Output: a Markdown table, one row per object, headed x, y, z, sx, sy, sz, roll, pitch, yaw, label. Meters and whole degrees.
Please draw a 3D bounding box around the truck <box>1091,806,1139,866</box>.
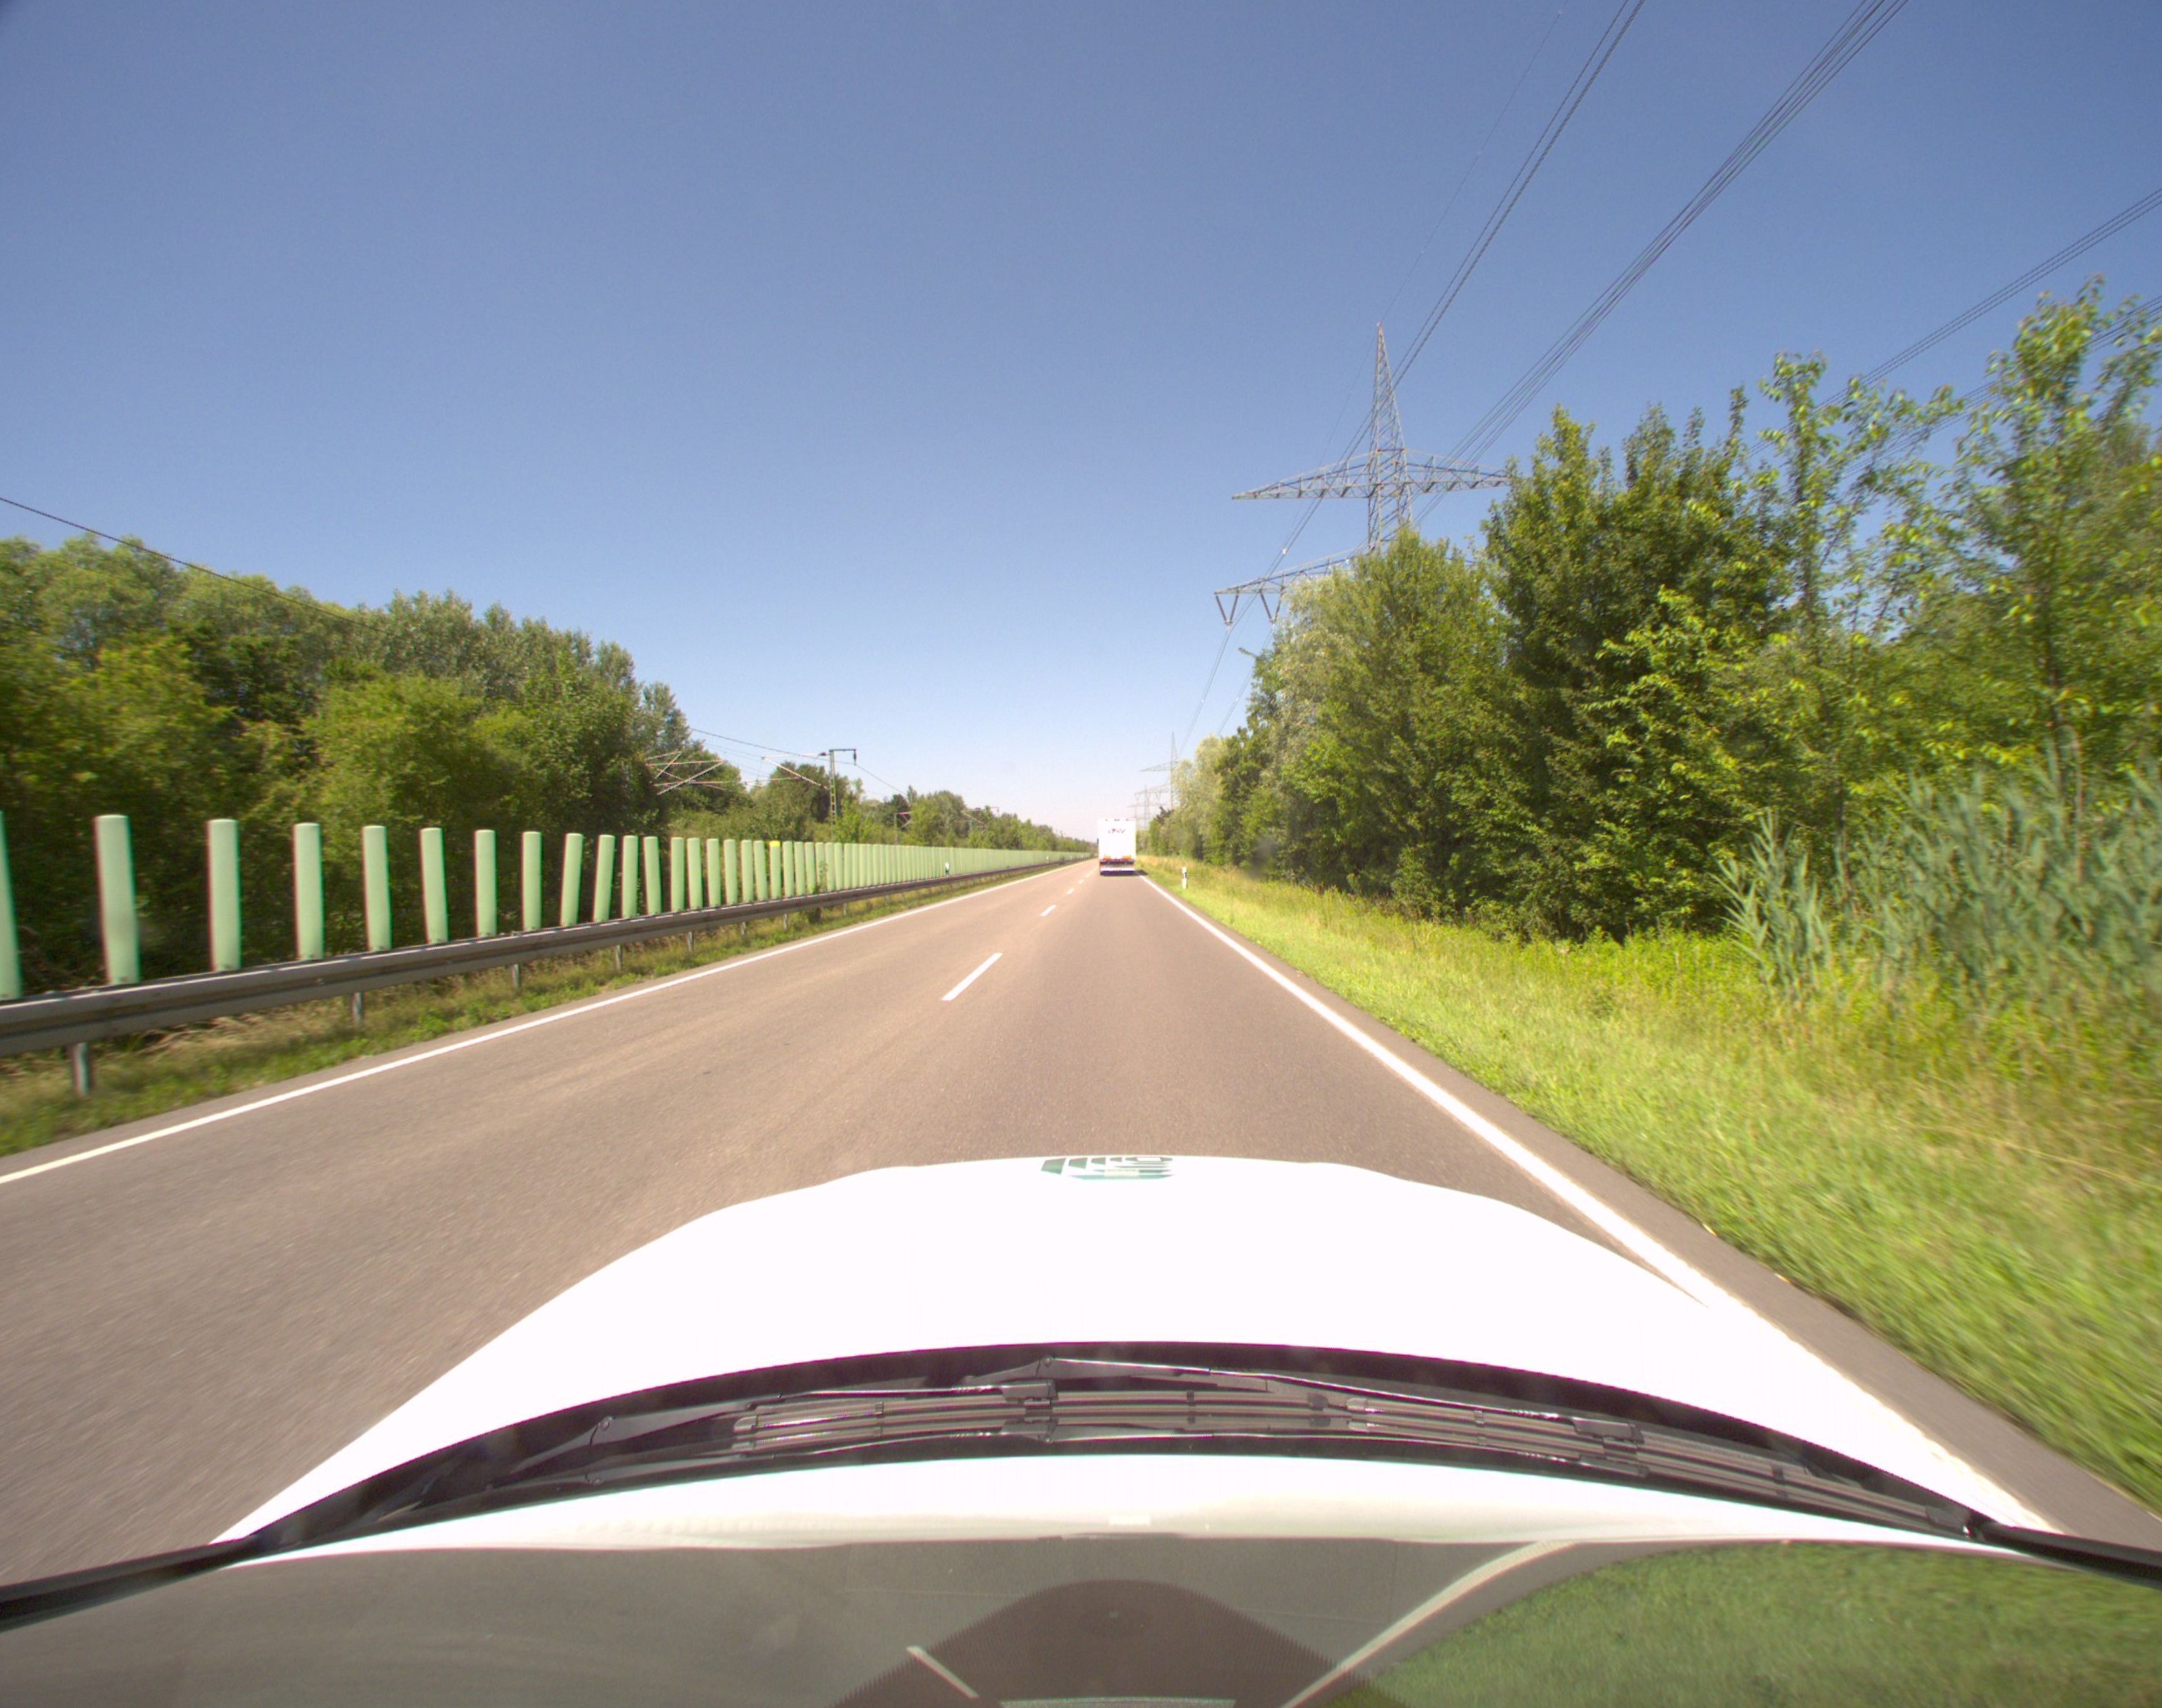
| x | y | z | sx | sy | sz | roll | pitch | yaw | label |
| --- | --- | --- | --- | --- | --- | --- | --- | --- | --- |
| 2.536 | -1.250 | 62.056 | 3.180 | 4.042 | 12.011 | -1 | 0 | 2 | truck |
